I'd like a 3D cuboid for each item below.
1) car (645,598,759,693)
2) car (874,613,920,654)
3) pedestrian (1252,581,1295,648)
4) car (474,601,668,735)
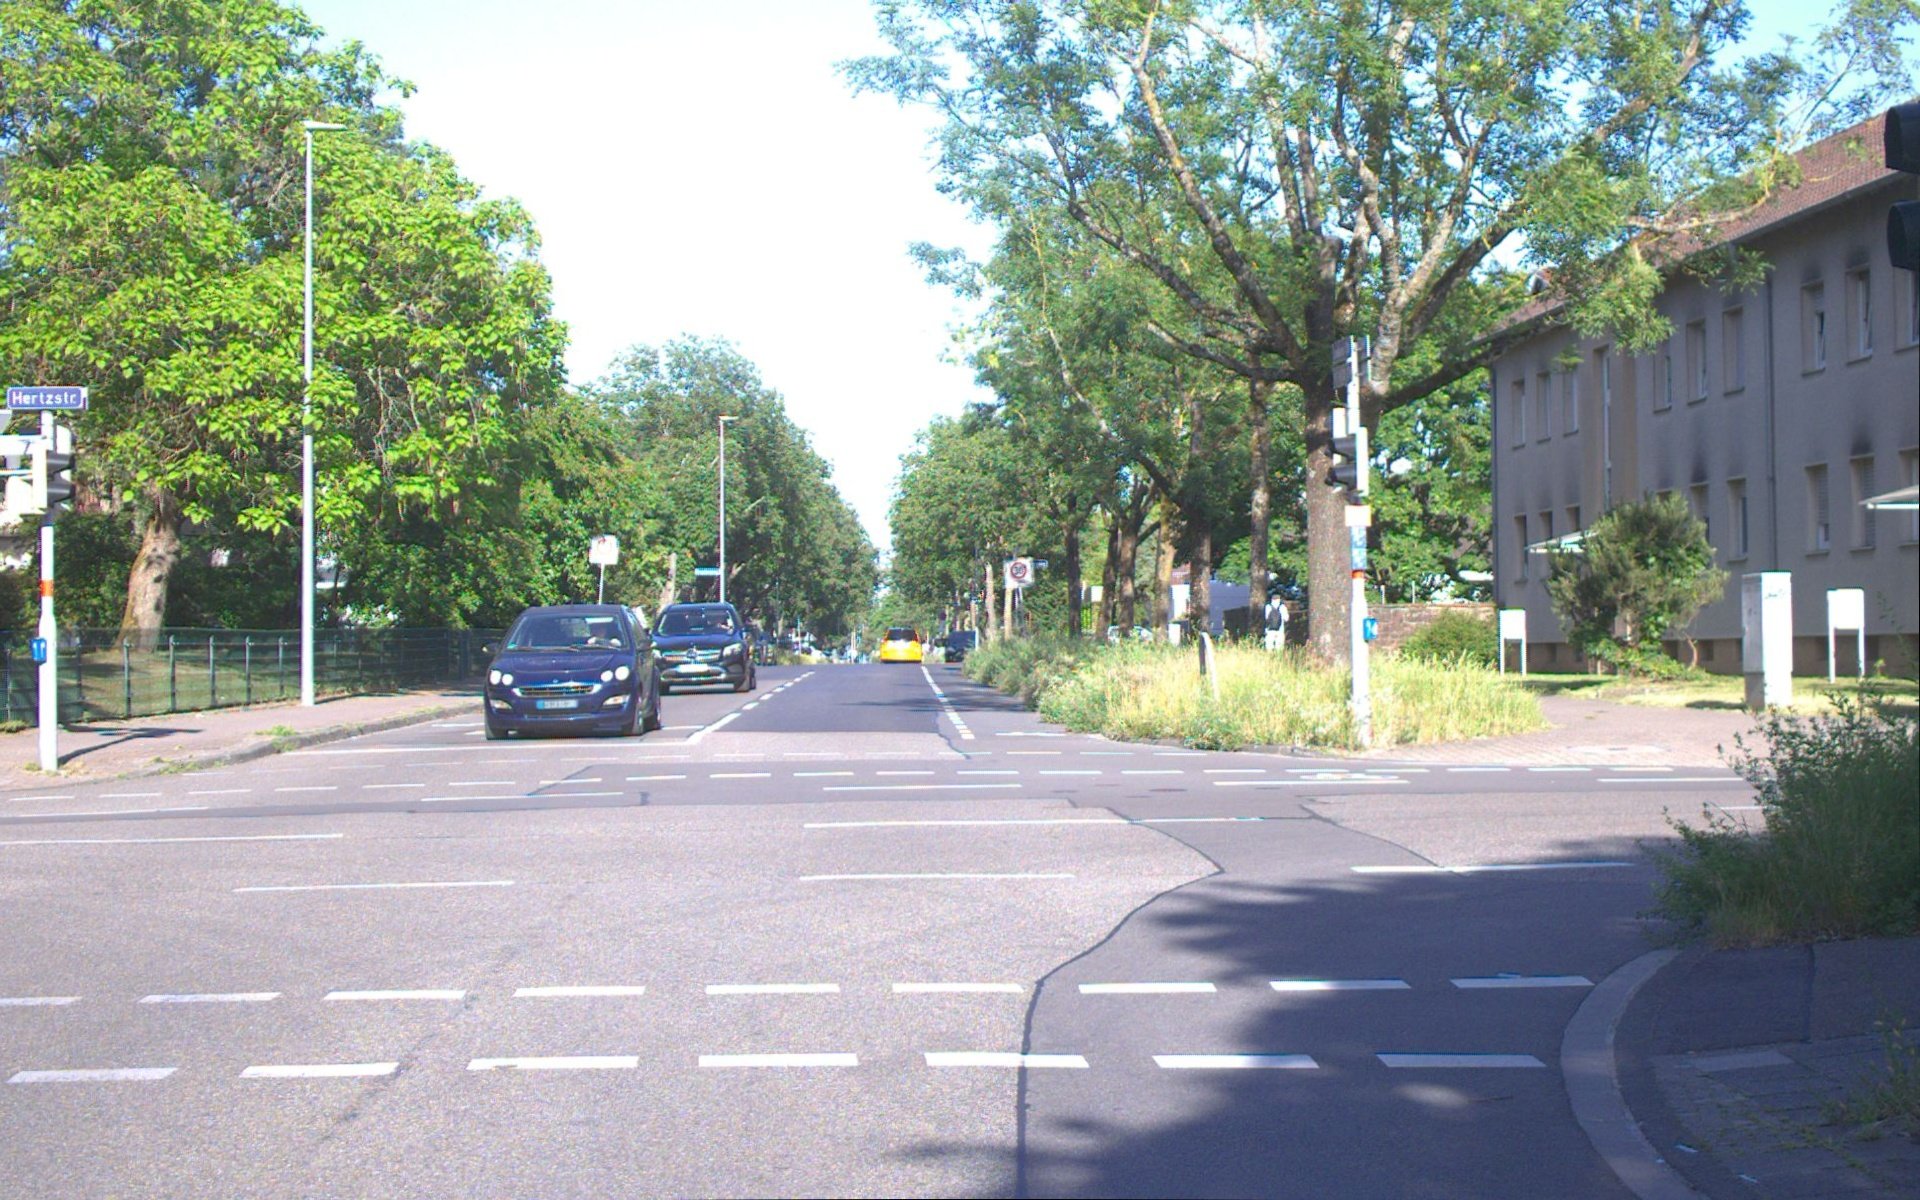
[{"bbox_3d":[-4.577,0.783,61.311,1.758,1.619,3.268,0,0,0],"label":"car"},{"bbox_3d":[-2.515,1.334,137.507,1.751,1.577,4.000,1,0,0],"label":"car"},{"bbox_3d":[7.121,0.328,78.048,0.842,1.488,0.924,2,0,-1],"label":"pedestrian"},{"bbox_3d":[-4.252,0.716,37.994,1.711,1.381,3.471,0,0,0],"label":"car"}]
